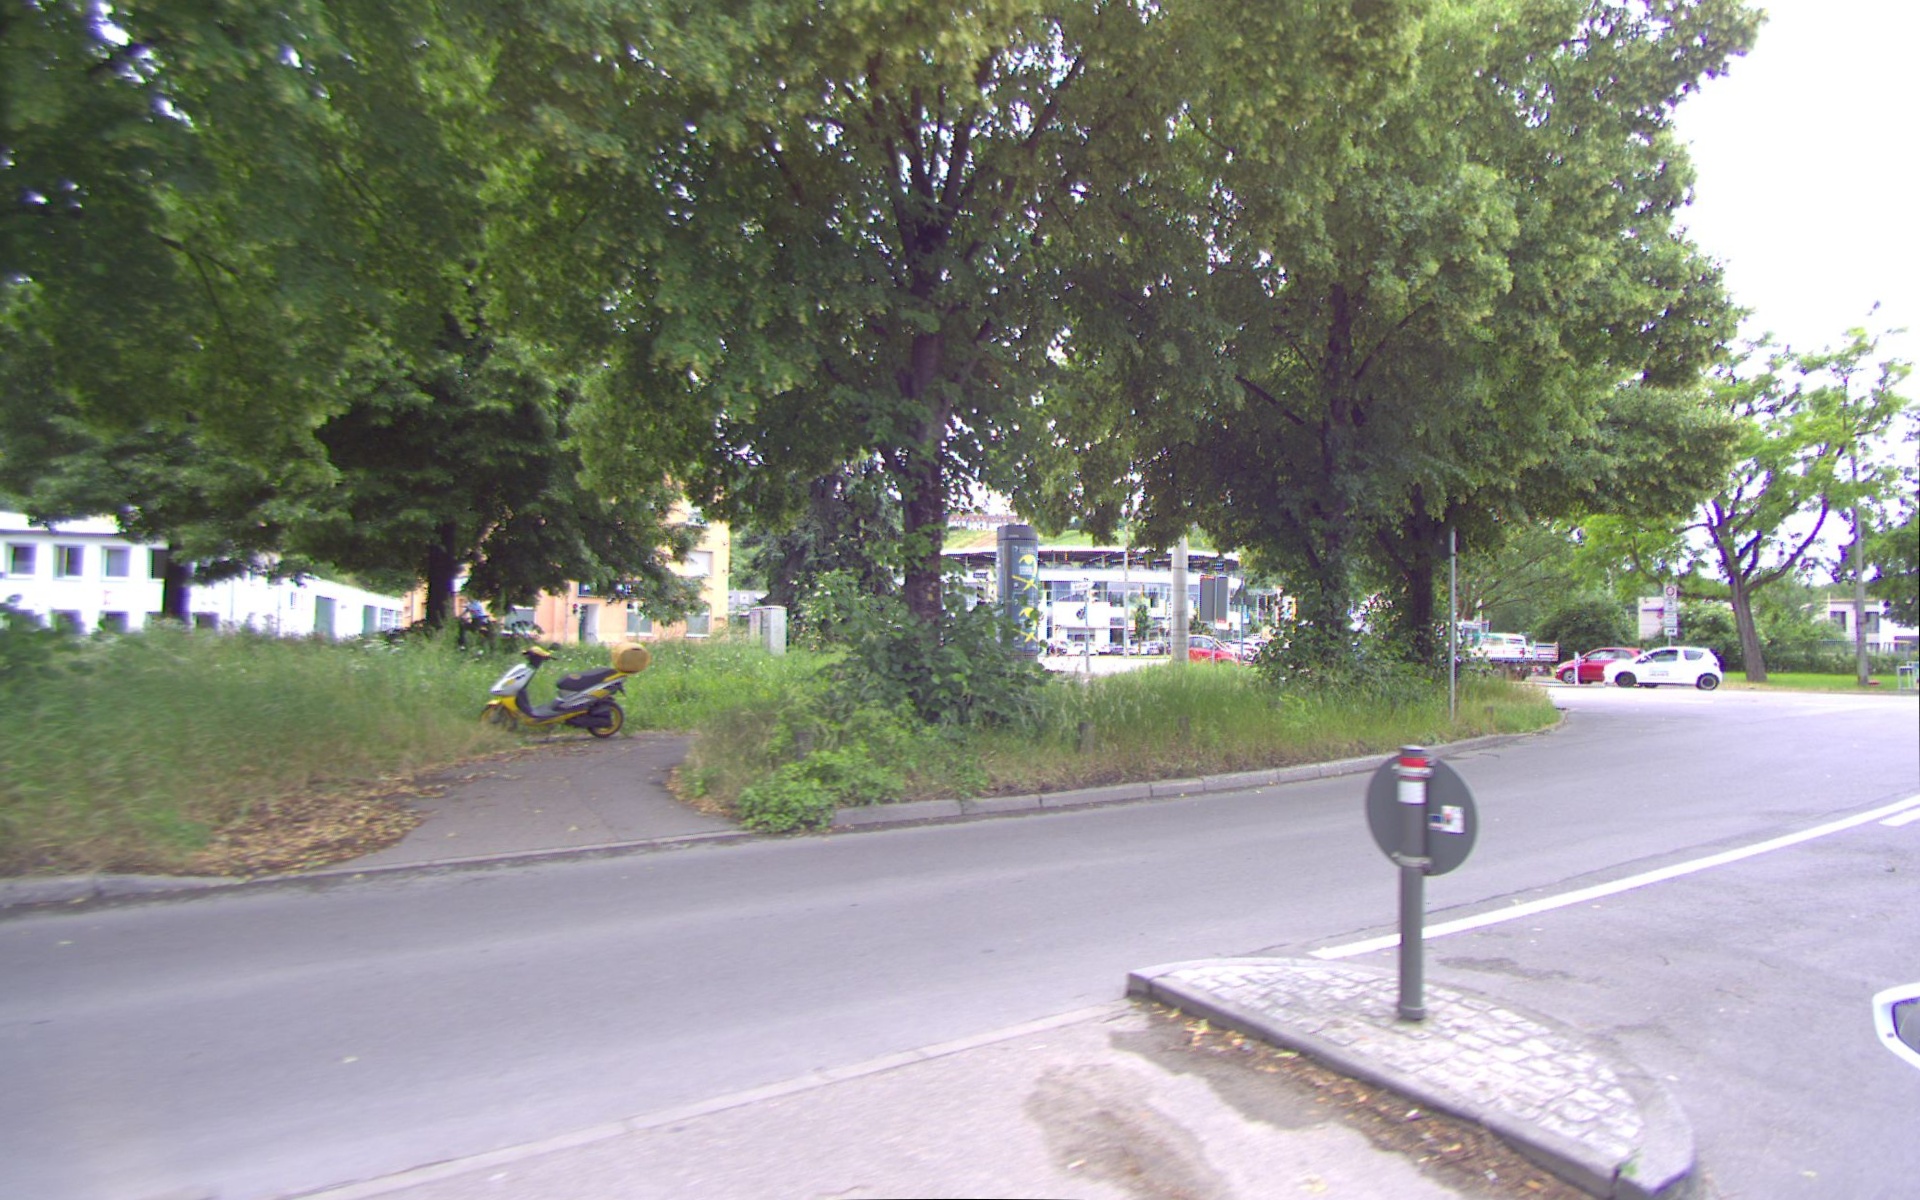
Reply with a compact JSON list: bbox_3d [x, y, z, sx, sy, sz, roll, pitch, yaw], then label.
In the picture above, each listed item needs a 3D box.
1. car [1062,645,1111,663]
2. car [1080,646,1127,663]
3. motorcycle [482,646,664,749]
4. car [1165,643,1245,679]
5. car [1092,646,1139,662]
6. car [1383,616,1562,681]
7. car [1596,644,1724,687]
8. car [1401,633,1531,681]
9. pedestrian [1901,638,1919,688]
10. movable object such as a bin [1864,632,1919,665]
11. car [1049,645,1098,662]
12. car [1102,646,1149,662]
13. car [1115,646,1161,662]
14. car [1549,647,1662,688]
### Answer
[{"bbox_3d":[12.790,5.458,101.625,4.429,1.714,1.994,-2,-3,35],"label":"car"},{"bbox_3d":[14.746,5.539,103.134,4.429,1.714,1.994,-2,-3,35],"label":"car"},{"bbox_3d":[-4.685,1.149,12.221,2.010,1.183,0.563,1,-3,-28],"label":"motorcycle"},{"bbox_3d":[9.563,2.371,39.204,2.824,1.367,1.562,-1,-3,24],"label":"car"},{"bbox_3d":[16.256,5.632,104.963,4.429,1.714,1.994,-2,-3,35],"label":"car"},{"bbox_3d":[20.504,1.964,40.512,2.372,2.418,6.029,2,-3,-36],"label":"car"},{"bbox_3d":[24.395,2.270,35.168,3.554,1.428,1.738,-2,-3,32],"label":"car"},{"bbox_3d":[22.185,2.476,44.272,2.021,1.967,4.965,1,-3,-25],"label":"car"},{"bbox_3d":[34.070,2.226,35.595,0.712,1.764,0.744,0,-2,10],"label":"pedestrian"},{"bbox_3d":[60.194,3.105,64.588,2.356,2.040,1.997,0,-2,-9],"label":"movable object such as a bin"},{"bbox_3d":[11.275,5.298,100.071,4.429,1.714,1.994,-2,-3,35],"label":"car"},{"bbox_3d":[17.581,5.706,106.736,4.429,1.714,1.994,-2,-3,35],"label":"car"},{"bbox_3d":[19.259,5.820,108.624,4.429,1.714,1.994,-2,-3,35],"label":"car"},{"bbox_3d":[25.195,2.596,39.260,1.627,1.497,3.367,2,-3,-39],"label":"car"}]
